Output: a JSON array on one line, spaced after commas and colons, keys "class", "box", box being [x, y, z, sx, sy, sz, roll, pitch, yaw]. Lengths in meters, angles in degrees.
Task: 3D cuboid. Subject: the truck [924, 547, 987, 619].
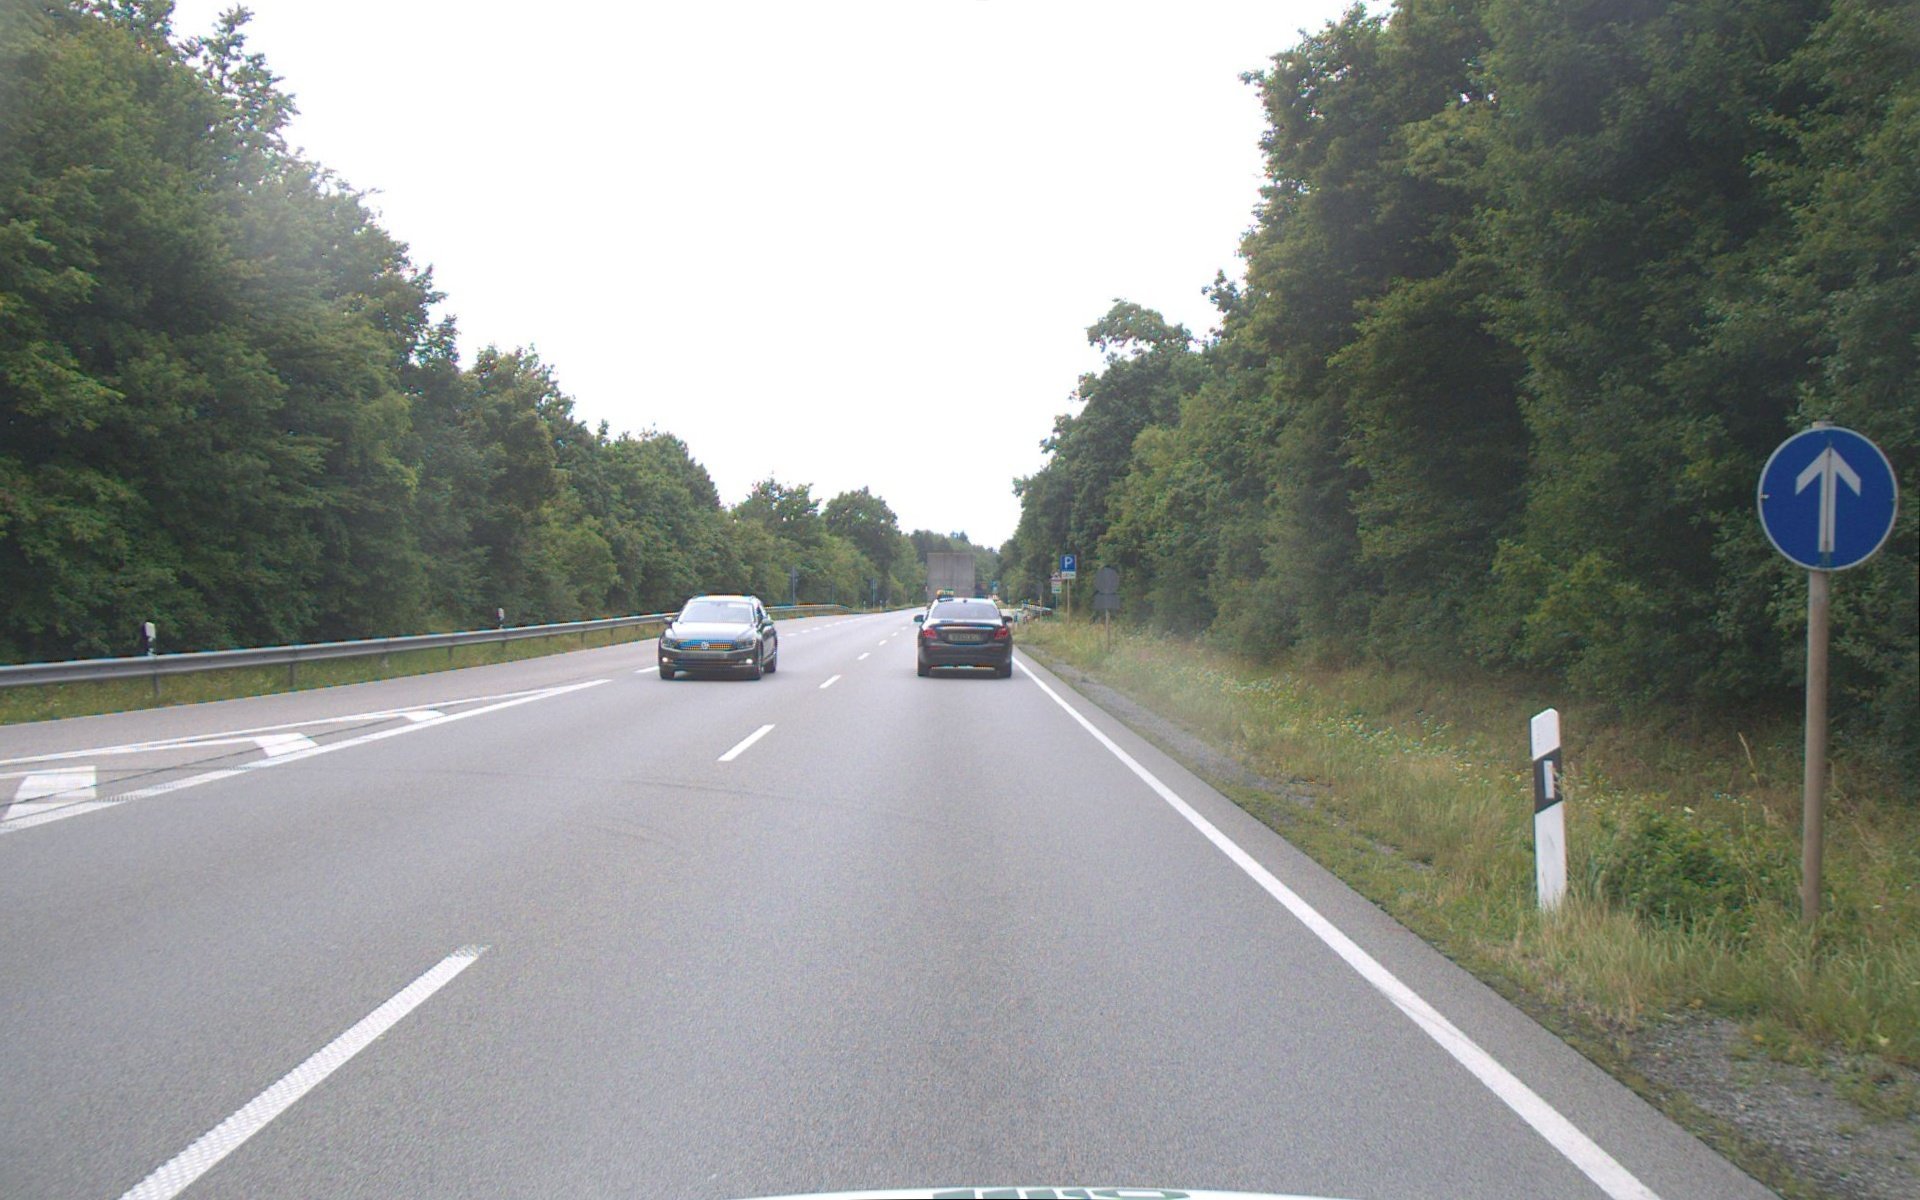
[{"class": "truck", "box": [-0.311, -0.907, 91.232, 3.214, 3.675, 11.398, 1, 0, -1]}]

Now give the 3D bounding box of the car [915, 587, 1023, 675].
[{"class": "car", "box": [0.116, 0.568, 32.239, 1.756, 1.579, 3.996, 1, 0, -5]}]

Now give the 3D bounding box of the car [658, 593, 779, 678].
[{"class": "car", "box": [-4.430, 0.612, 30.898, 1.772, 1.467, 4.445, 1, 0, -3]}]
